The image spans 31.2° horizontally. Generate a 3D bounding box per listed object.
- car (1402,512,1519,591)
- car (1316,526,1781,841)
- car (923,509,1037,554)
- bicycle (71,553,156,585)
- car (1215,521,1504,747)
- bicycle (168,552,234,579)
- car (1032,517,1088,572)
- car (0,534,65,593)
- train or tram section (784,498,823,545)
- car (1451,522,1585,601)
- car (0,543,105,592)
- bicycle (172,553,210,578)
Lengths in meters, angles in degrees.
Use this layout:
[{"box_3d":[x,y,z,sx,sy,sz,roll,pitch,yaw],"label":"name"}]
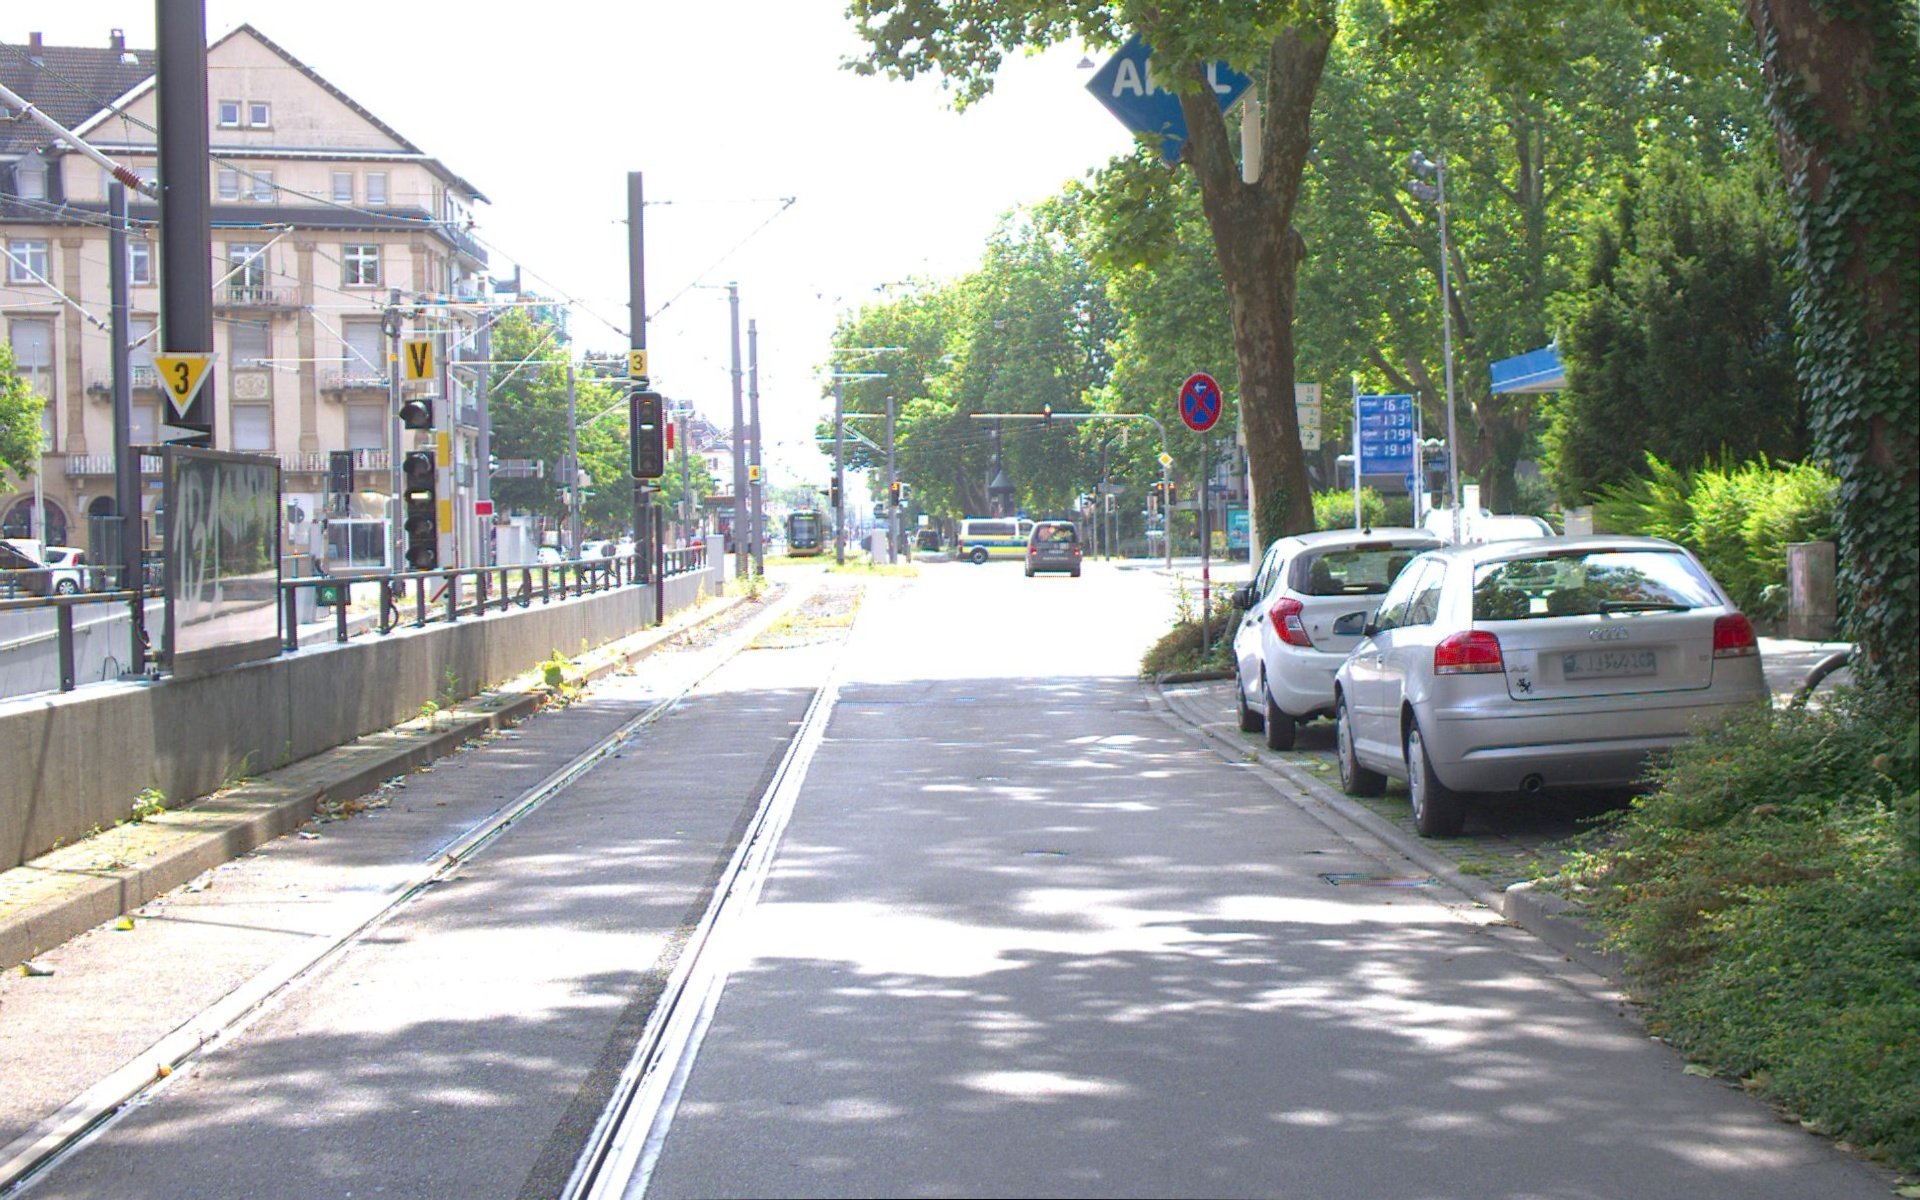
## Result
[{"box_3d":[10.533,-1.039,72.645,1.806,1.597,4.583,0,1,0],"label":"car"},{"box_3d":[2.953,0.350,18.003,1.677,1.439,3.859,-1,1,-1],"label":"car"},{"box_3d":[0.891,-2.978,149.804,4.736,1.853,2.000,-1,1,7],"label":"car"},{"box_3d":[-34.866,-1.290,141.605,3.312,1.249,0.998,-1,1,16],"label":"bicycle"},{"box_3d":[2.824,0.199,24.988,1.553,1.480,3.859,-1,1,-1],"label":"car"},{"box_3d":[-31.450,-1.424,142.499,2.557,1.049,0.682,-2,1,-28],"label":"bicycle"},{"box_3d":[3.303,-1.851,114.118,1.750,1.802,3.475,0,1,0],"label":"car"},{"box_3d":[-29.781,-1.113,106.085,3.869,1.742,1.895,-1,1,-3],"label":"car"},{"box_3d":[-11.400,-5.708,251.085,2.240,3.320,12.972,-1,1,0],"label":"train or tram section"},{"box_3d":[10.585,-0.759,65.454,1.805,1.450,4.002,0,1,-1],"label":"car"},{"box_3d":[-29.047,-1.042,109.372,3.265,1.497,1.855,-1,1,-2],"label":"car"},{"box_3d":[-32.223,-1.452,144.049,0.803,1.049,2.566,-2,1,-30],"label":"bicycle"}]
